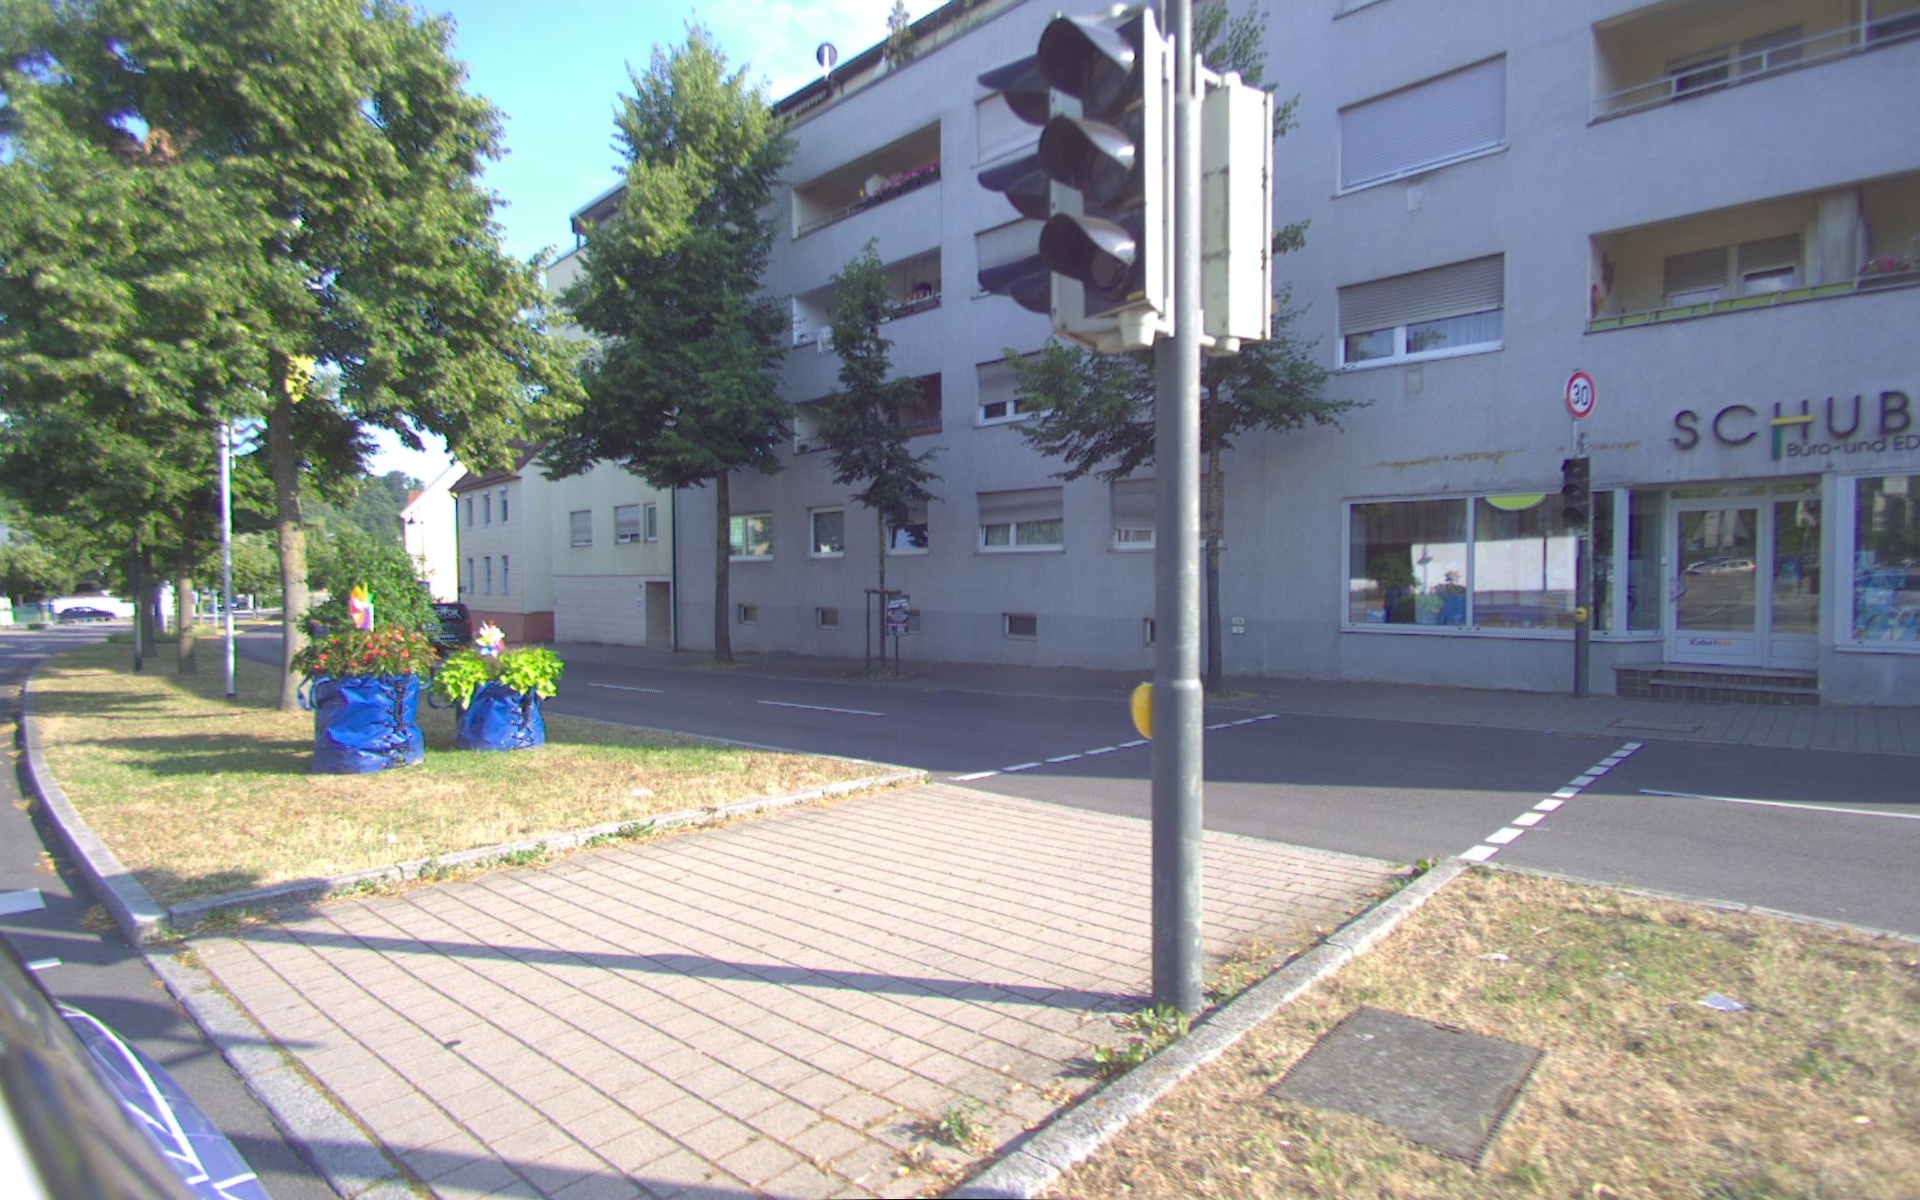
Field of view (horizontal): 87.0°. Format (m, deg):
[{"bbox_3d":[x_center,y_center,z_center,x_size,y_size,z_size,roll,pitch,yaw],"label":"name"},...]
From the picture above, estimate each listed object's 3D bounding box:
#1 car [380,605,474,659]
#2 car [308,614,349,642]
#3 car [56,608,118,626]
[{"bbox_3d":[-18.524,1.059,35.069,1.829,1.750,4.930,0,-1,-41],"label":"car"},{"bbox_3d":[-36.417,1.562,58.336,1.827,1.497,5.009,0,-1,-34],"label":"car"},{"bbox_3d":[-78.459,1.521,90.993,3.771,1.431,1.944,-2,0,-24],"label":"car"}]
